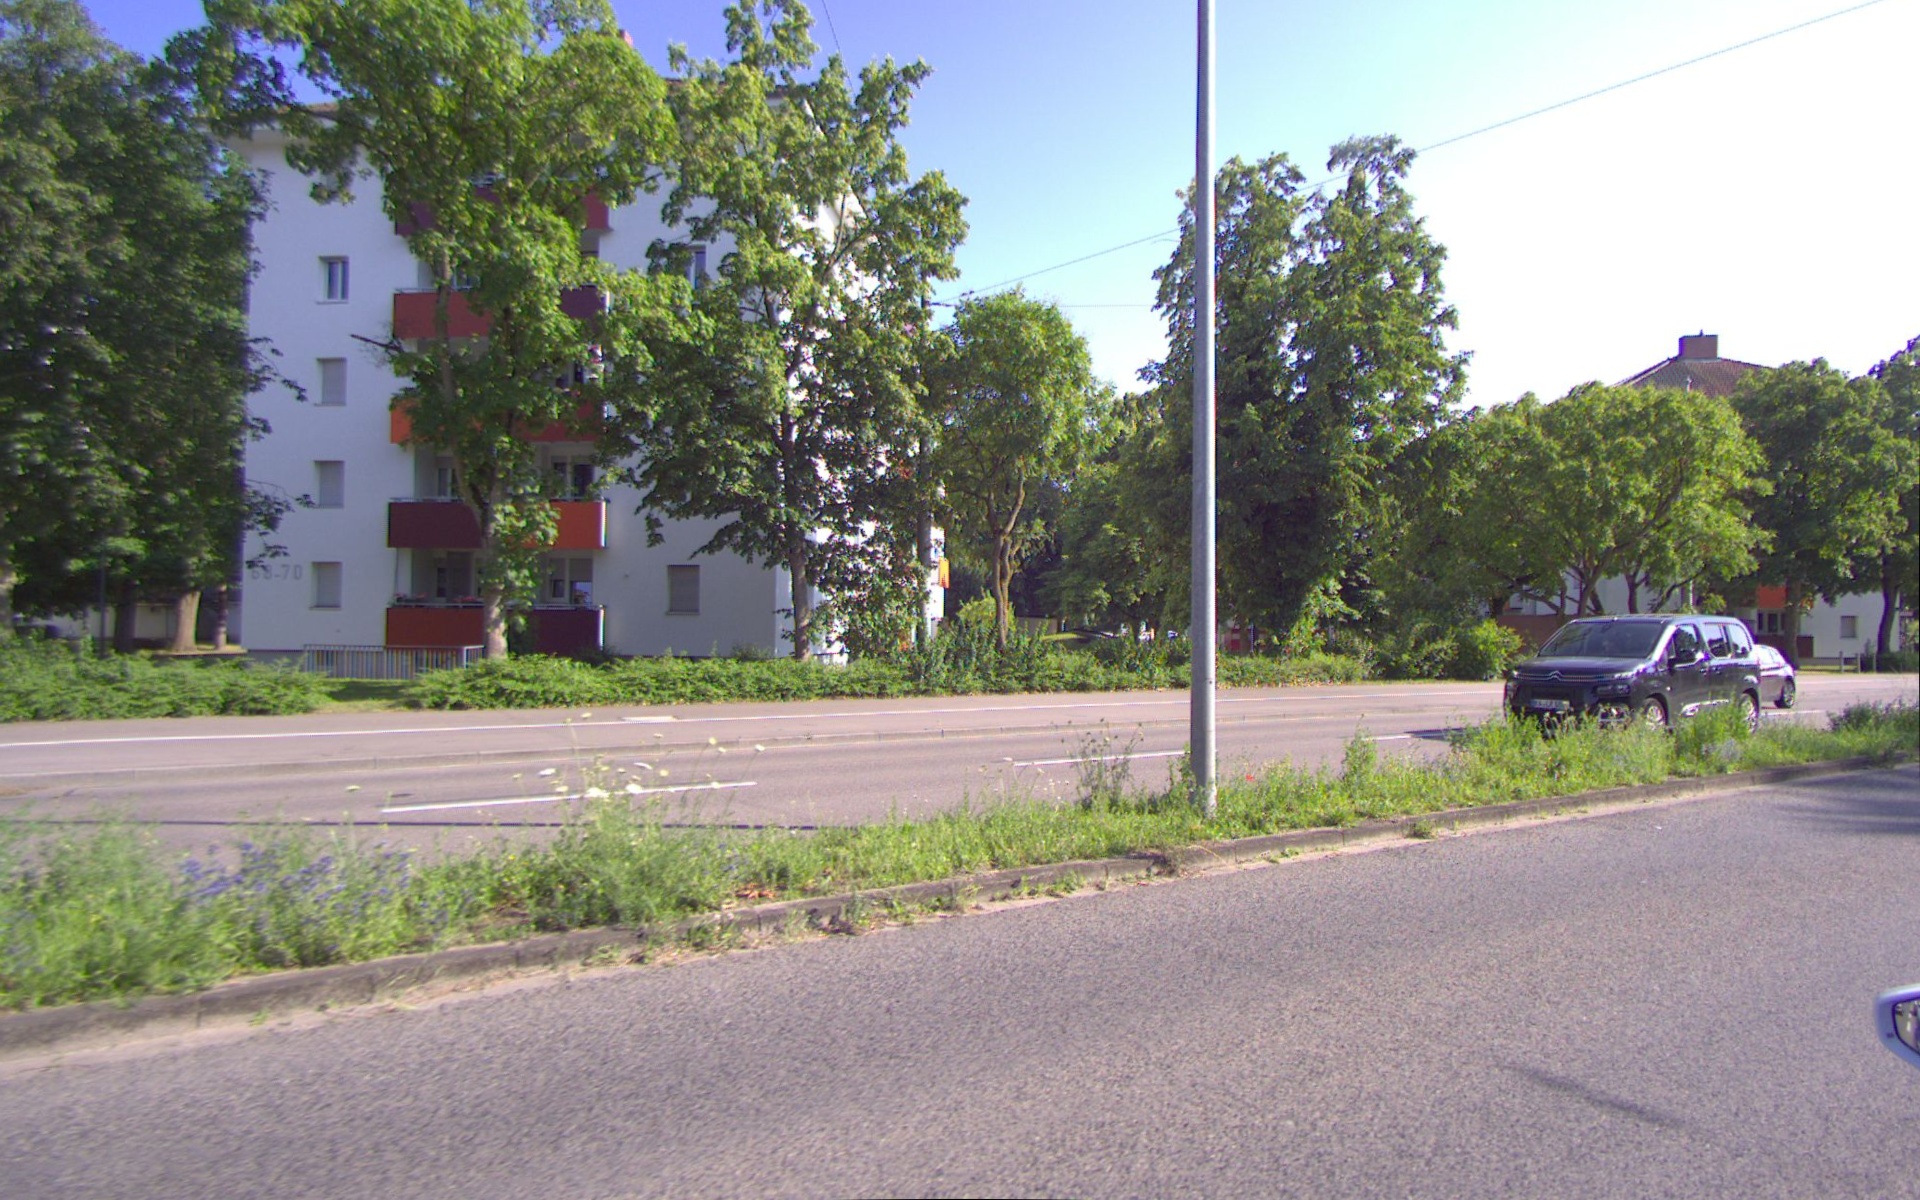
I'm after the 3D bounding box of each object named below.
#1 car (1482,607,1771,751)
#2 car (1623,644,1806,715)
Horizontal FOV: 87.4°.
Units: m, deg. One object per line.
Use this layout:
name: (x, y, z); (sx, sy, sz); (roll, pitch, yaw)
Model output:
car: (9.705, 1.071, 14.545); (4.429, 1.807, 1.781); (1, -2, -31)
car: (16.694, 1.696, 22.190); (4.275, 1.438, 1.715); (1, -3, -31)
